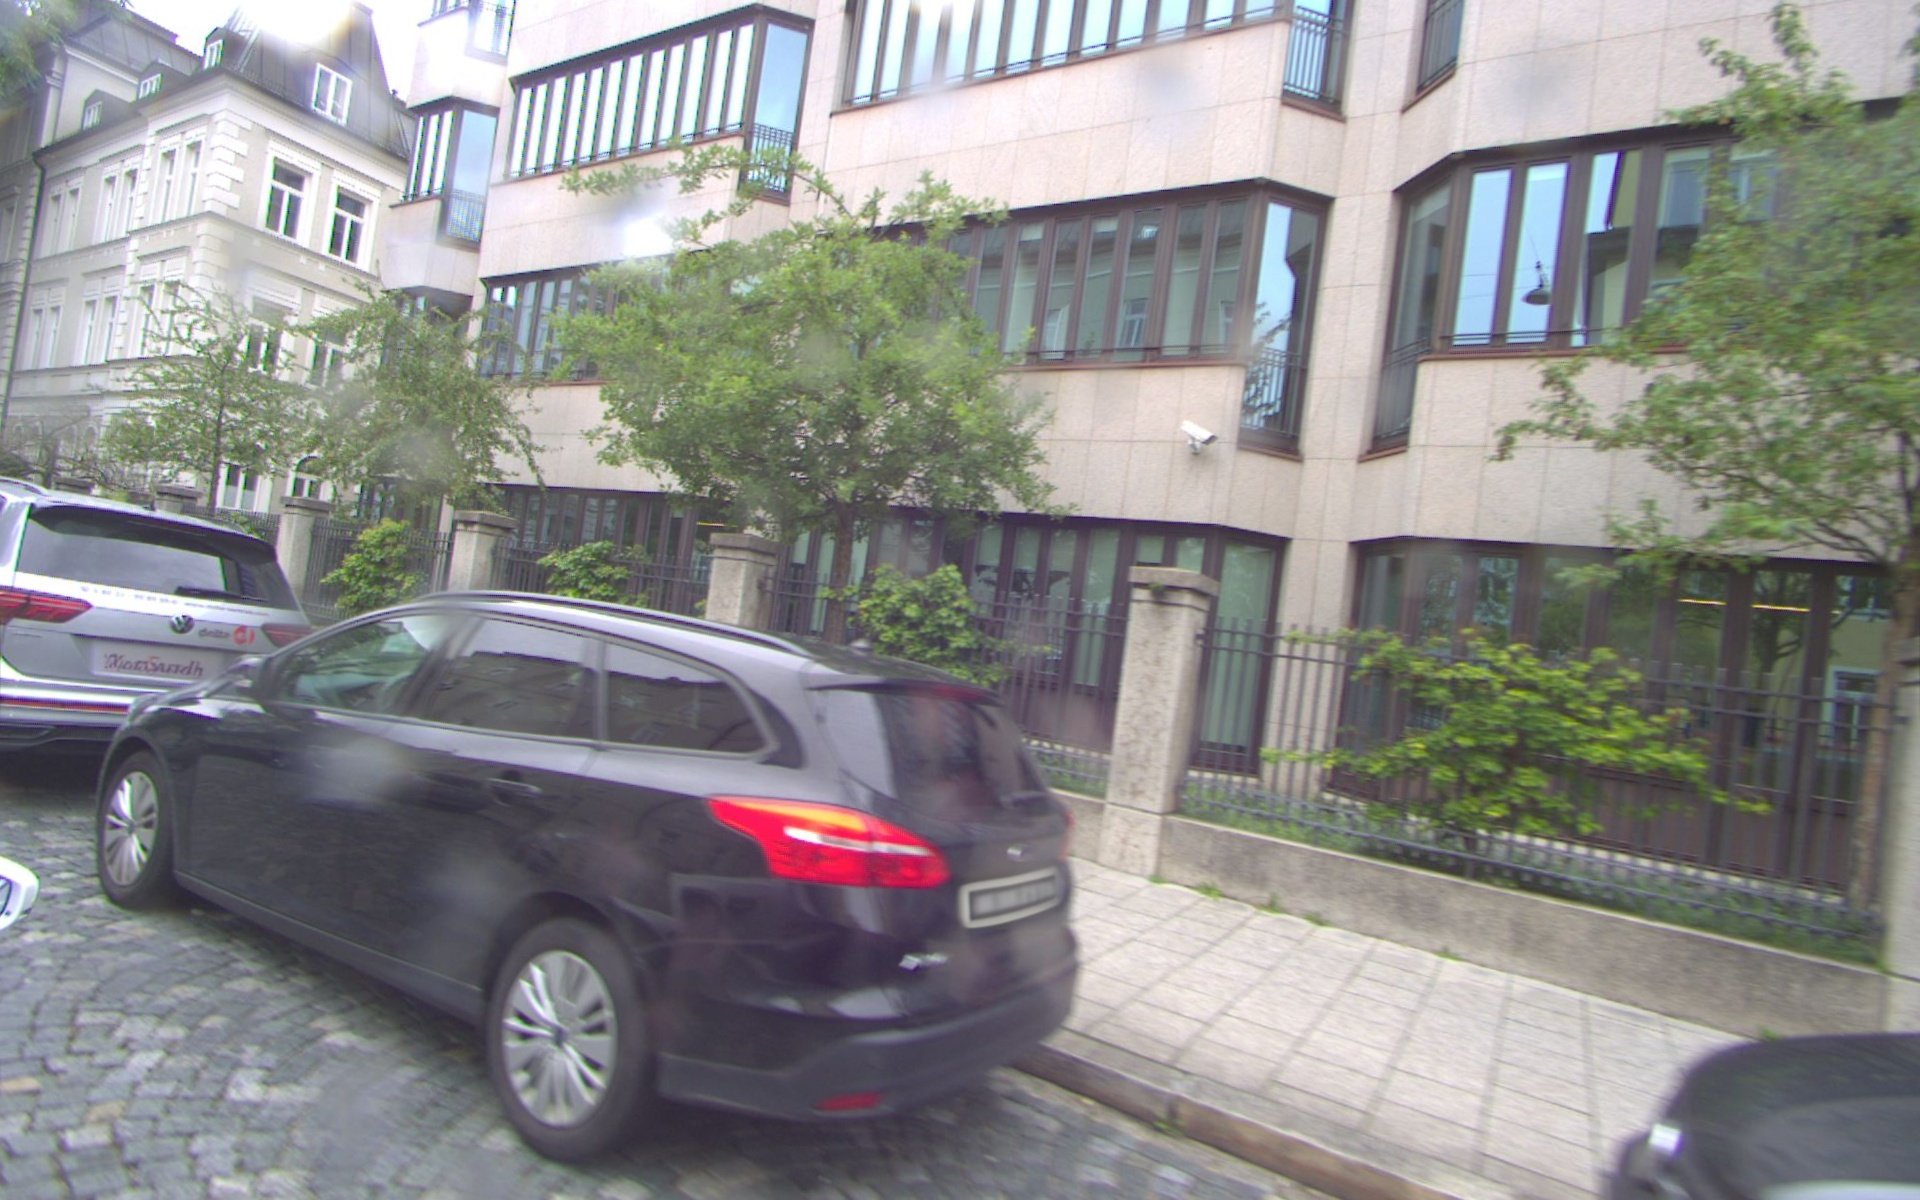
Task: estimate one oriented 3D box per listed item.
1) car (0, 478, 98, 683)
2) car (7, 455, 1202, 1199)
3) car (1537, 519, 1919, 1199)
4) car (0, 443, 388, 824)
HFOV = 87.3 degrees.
[{"bbox_3d":[-10.734,-0.502,9.796,4.667,1.751,1.881,7,-6,30],"label":"car"},{"bbox_3d":[-1.640,0.609,4.095,4.581,1.751,1.881,7,-6,31],"label":"car"},{"bbox_3d":[3.249,1.163,1.066,4.434,1.813,1.796,7,-6,31],"label":"car"},{"bbox_3d":[-6.072,0.043,6.579,4.813,1.752,1.878,7,-5,34],"label":"car"}]
